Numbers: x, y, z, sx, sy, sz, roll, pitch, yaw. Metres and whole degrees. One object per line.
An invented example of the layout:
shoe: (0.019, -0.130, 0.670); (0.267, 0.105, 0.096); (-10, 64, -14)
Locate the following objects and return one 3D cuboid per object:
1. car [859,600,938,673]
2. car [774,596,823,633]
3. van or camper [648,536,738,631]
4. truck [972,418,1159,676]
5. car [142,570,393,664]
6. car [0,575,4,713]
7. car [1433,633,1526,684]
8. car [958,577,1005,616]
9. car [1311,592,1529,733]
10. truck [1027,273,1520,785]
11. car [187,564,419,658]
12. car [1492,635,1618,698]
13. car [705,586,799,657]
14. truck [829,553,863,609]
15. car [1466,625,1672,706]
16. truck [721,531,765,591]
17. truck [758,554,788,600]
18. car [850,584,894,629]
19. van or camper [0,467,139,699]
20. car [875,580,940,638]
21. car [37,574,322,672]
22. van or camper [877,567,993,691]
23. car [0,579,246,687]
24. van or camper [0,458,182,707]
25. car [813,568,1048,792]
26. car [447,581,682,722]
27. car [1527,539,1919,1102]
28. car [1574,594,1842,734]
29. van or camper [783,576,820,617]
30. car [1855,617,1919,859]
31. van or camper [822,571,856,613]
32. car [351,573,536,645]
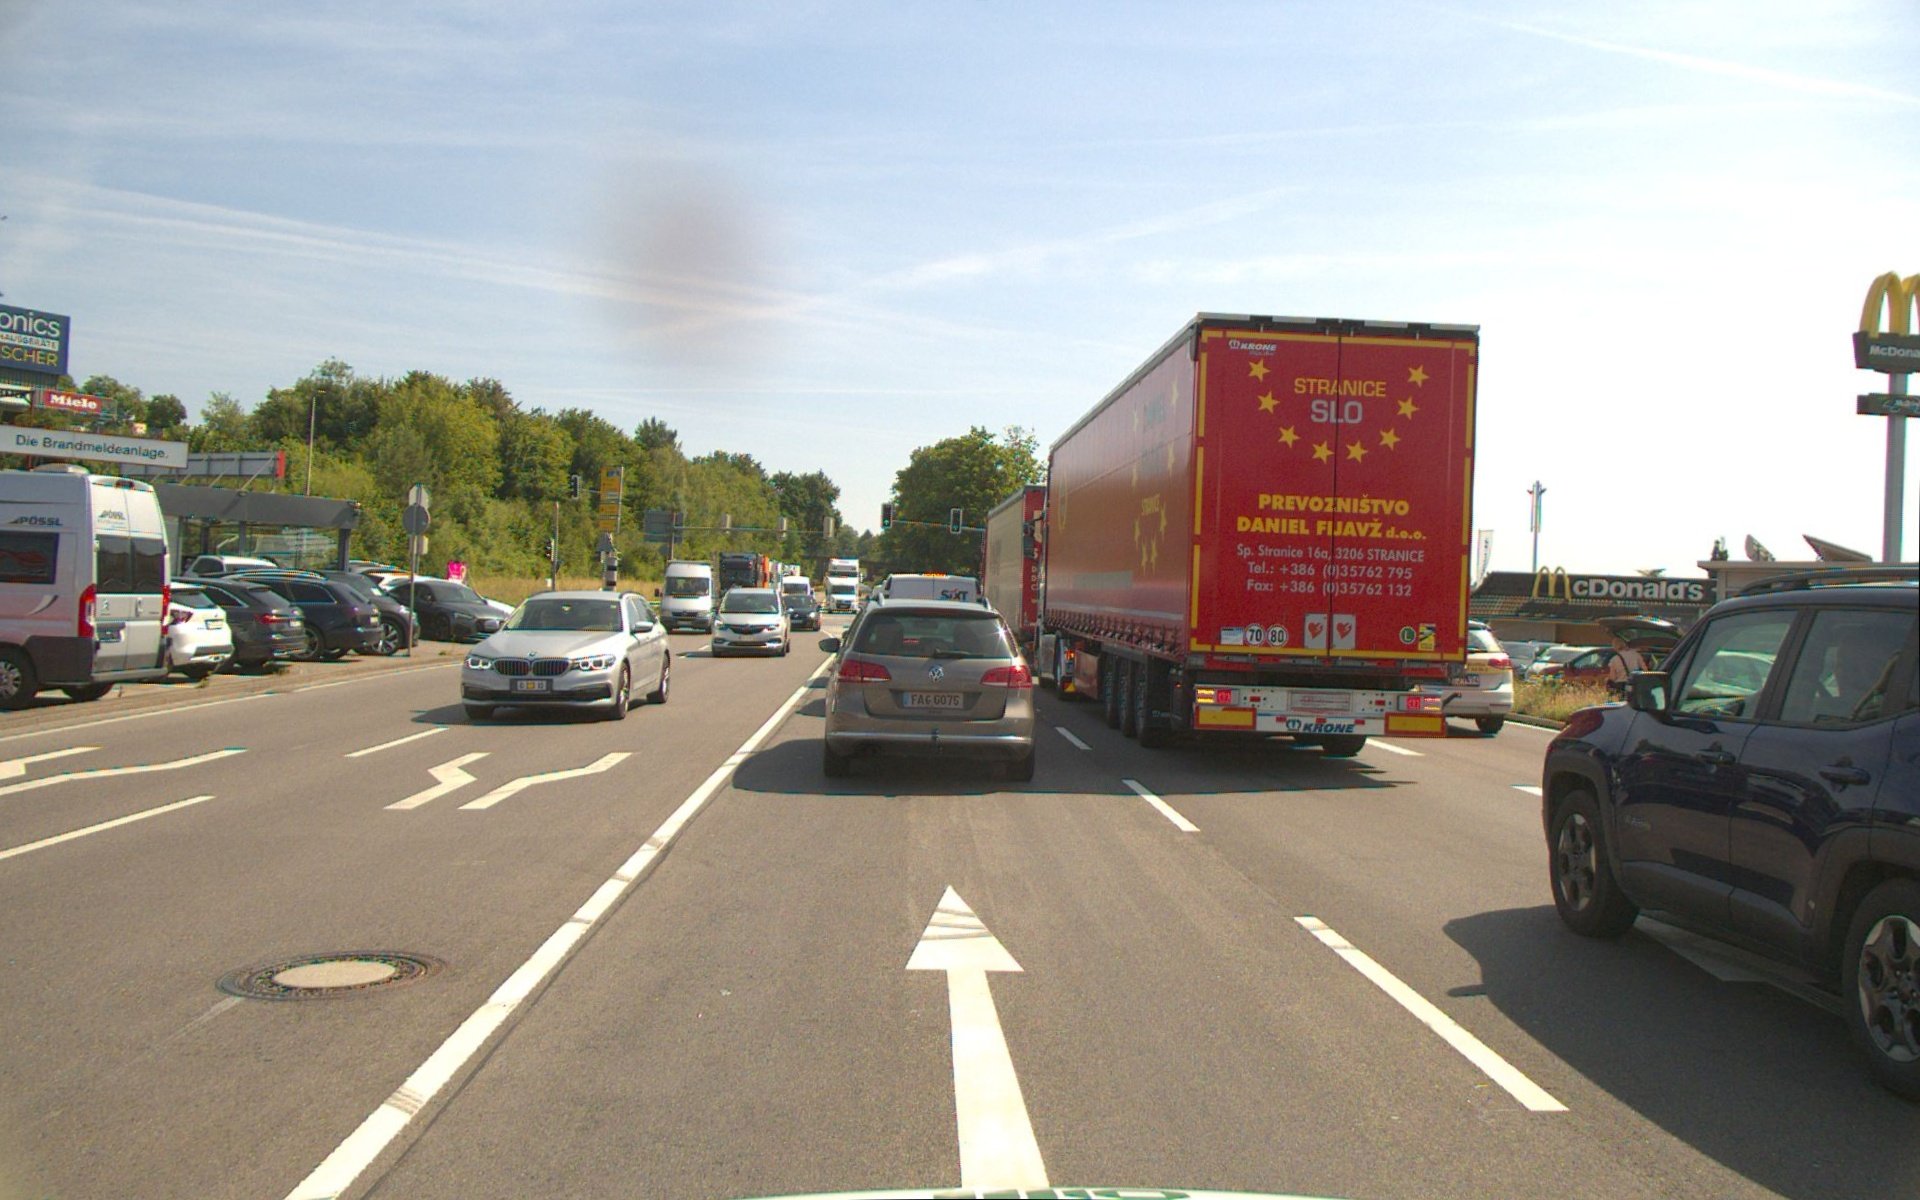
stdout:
car: (-1.421, 0.825, 38.373); (1.692, 1.545, 3.310); (2, -1, -2)
car: (-6.440, 0.542, 66.112); (1.632, 1.434, 3.925); (0, 0, -1)
van or camper: (-9.704, -0.591, 60.672); (2.163, 3.108, 5.901); (6, 0, -1)
truck: (2.285, -1.140, 43.129); (3.001, 5.312, 16.999); (2, 0, -2)
car: (-12.416, 0.294, 29.840); (3.740, 1.566, 1.841); (1, 0, -3)
car: (-12.230, 0.459, 17.169); (3.521, 1.506, 1.812); (1, 0, -1)
car: (17.399, 1.936, 55.308); (1.705, 1.562, 4.020); (2, 0, 37)
car: (0.881, -0.134, 69.543); (1.692, 1.545, 3.310); (2, -1, -3)
car: (6.094, 0.764, 22.366); (1.782, 1.714, 3.999); (1, 0, -1)
truck: (3.069, -0.643, 22.666); (2.898, 4.344, 16.576); (2, 0, -2)
car: (-12.712, 0.215, 32.184); (3.740, 1.704, 1.841); (1, 0, -3)
car: (16.410, 1.806, 45.518); (1.710, 1.562, 4.008); (2, 0, 45)
car: (-5.148, 0.503, 41.412); (1.870, 1.692, 4.180); (0, 0, -1)
truck: (-9.298, -1.539, 135.059); (2.501, 4.383, 7.592); (0, 0, -2)
car: (13.502, 1.420, 36.856); (1.973, 1.558, 3.959); (2, 0, -31)
truck: (-14.501, -2.555, 110.992); (2.758, 3.852, 6.981); (0, 0, -6)
truck: (-16.112, -1.939, 142.617); (2.484, 3.852, 6.981); (0, 0, -6)
car: (-4.003, 0.326, 75.455); (1.691, 1.942, 3.312); (2, -1, 1)
van or camper: (-14.419, -0.309, 21.982); (5.773, 2.923, 2.289); (2, 1, -2)
car: (-1.455, 0.265, 46.843); (1.691, 1.545, 3.312); (2, -1, 0)
car: (-12.671, 0.367, 27.037); (3.740, 1.473, 1.841); (1, 0, -3)
van or camper: (-0.493, 0.455, 28.599); (1.815, 1.939, 3.782); (2, 0, -3)
car: (-12.749, 0.458, 24.238); (3.740, 1.473, 1.841); (1, 0, -3)
van or camper: (-12.395, -0.261, 19.670); (5.139, 2.779, 2.210); (2, 0, -1)
car: (-0.189, 0.607, 14.291); (1.753, 1.667, 3.504); (1, 0, 1)
car: (-4.831, 0.569, 20.926); (1.870, 1.548, 4.780); (1, 0, -1)
car: (3.800, 0.677, 6.393); (1.782, 1.714, 3.999); (1, 0, -1)
car: (11.305, 0.952, 24.988); (3.788, 1.954, 1.688); (2, 0, -27)
van or camper: (-10.435, -0.253, 109.024); (2.130, 2.596, 4.168); (2, 0, -3)
car: (6.813, 0.877, 9.036); (1.625, 1.497, 3.999); (1, 0, -1)
van or camper: (-8.767, -0.546, 120.208); (2.179, 2.890, 5.708); (2, -1, -2)
car: (-13.384, 0.219, 42.859); (4.429, 1.723, 2.128); (1, 0, 30)
